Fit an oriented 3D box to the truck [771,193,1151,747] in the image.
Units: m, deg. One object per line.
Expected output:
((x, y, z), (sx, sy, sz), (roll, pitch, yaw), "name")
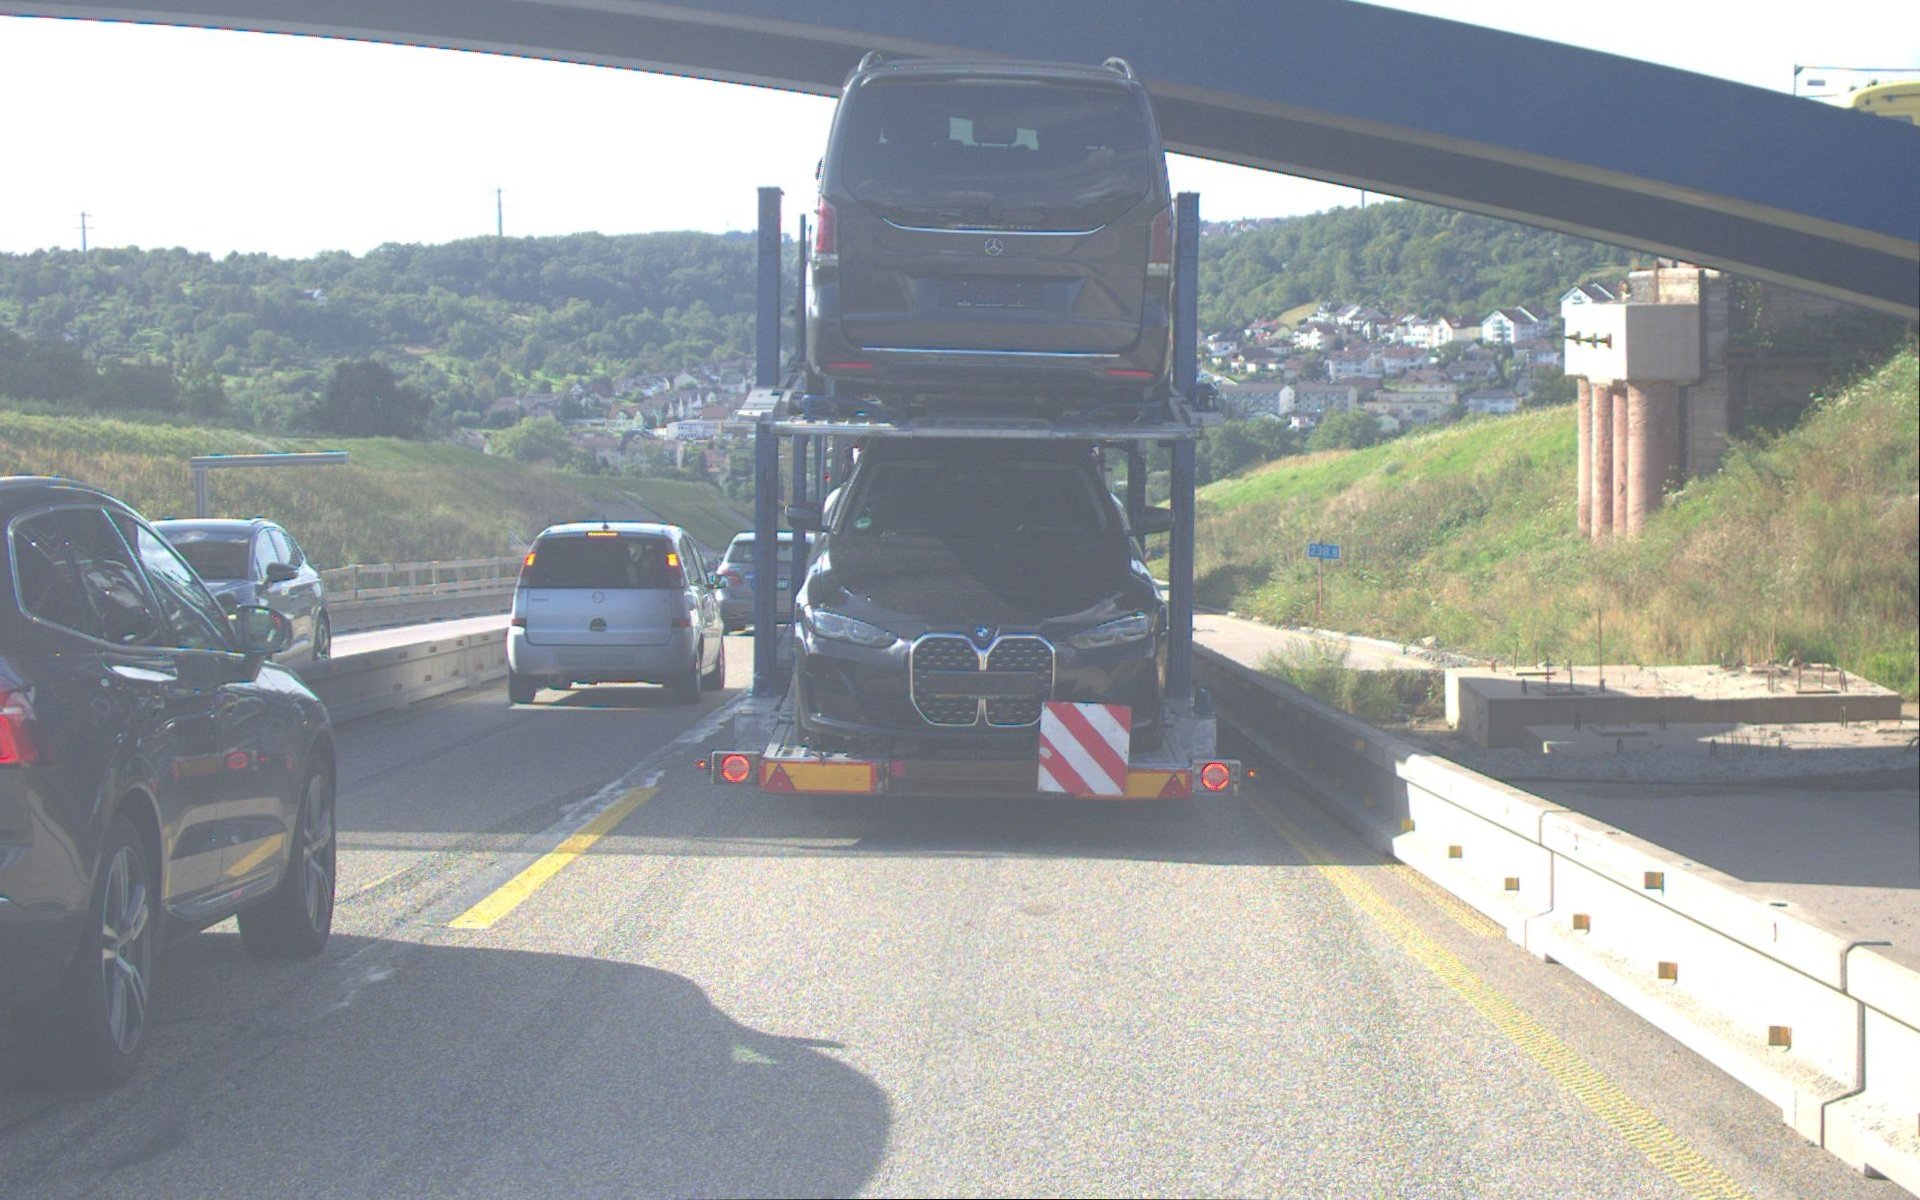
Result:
((0.027, -0.972, 27.321), (2.678, 3.908, 6.027), (0, 1, 0), "truck")

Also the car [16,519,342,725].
((-6.663, 0.129, 29.784), (1.823, 1.558, 4.218), (-3, 2, 0), "car")

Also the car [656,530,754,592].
((-5.324, -0.843, 72.205), (1.668, 1.151, 4.218), (-3, 2, 1), "car")

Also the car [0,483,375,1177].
((-3.127, 0.483, 10.370), (1.993, 1.619, 4.750), (0, 1, -1), "car")

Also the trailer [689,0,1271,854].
((0.065, -0.925, 21.724), (2.708, 4.015, 11.420), (0, 1, 0), "trailer")

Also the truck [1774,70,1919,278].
((18.844, -7.216, 58.535), (9.263, 3.216, 2.960), (0, 1, 0), "truck")

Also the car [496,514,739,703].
((-3.062, 0.020, 31.560), (1.796, 1.591, 4.743), (0, 1, -1), "car")

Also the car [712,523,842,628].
((-2.755, -0.410, 52.573), (1.796, 1.525, 4.296), (0, 1, -1), "car")
